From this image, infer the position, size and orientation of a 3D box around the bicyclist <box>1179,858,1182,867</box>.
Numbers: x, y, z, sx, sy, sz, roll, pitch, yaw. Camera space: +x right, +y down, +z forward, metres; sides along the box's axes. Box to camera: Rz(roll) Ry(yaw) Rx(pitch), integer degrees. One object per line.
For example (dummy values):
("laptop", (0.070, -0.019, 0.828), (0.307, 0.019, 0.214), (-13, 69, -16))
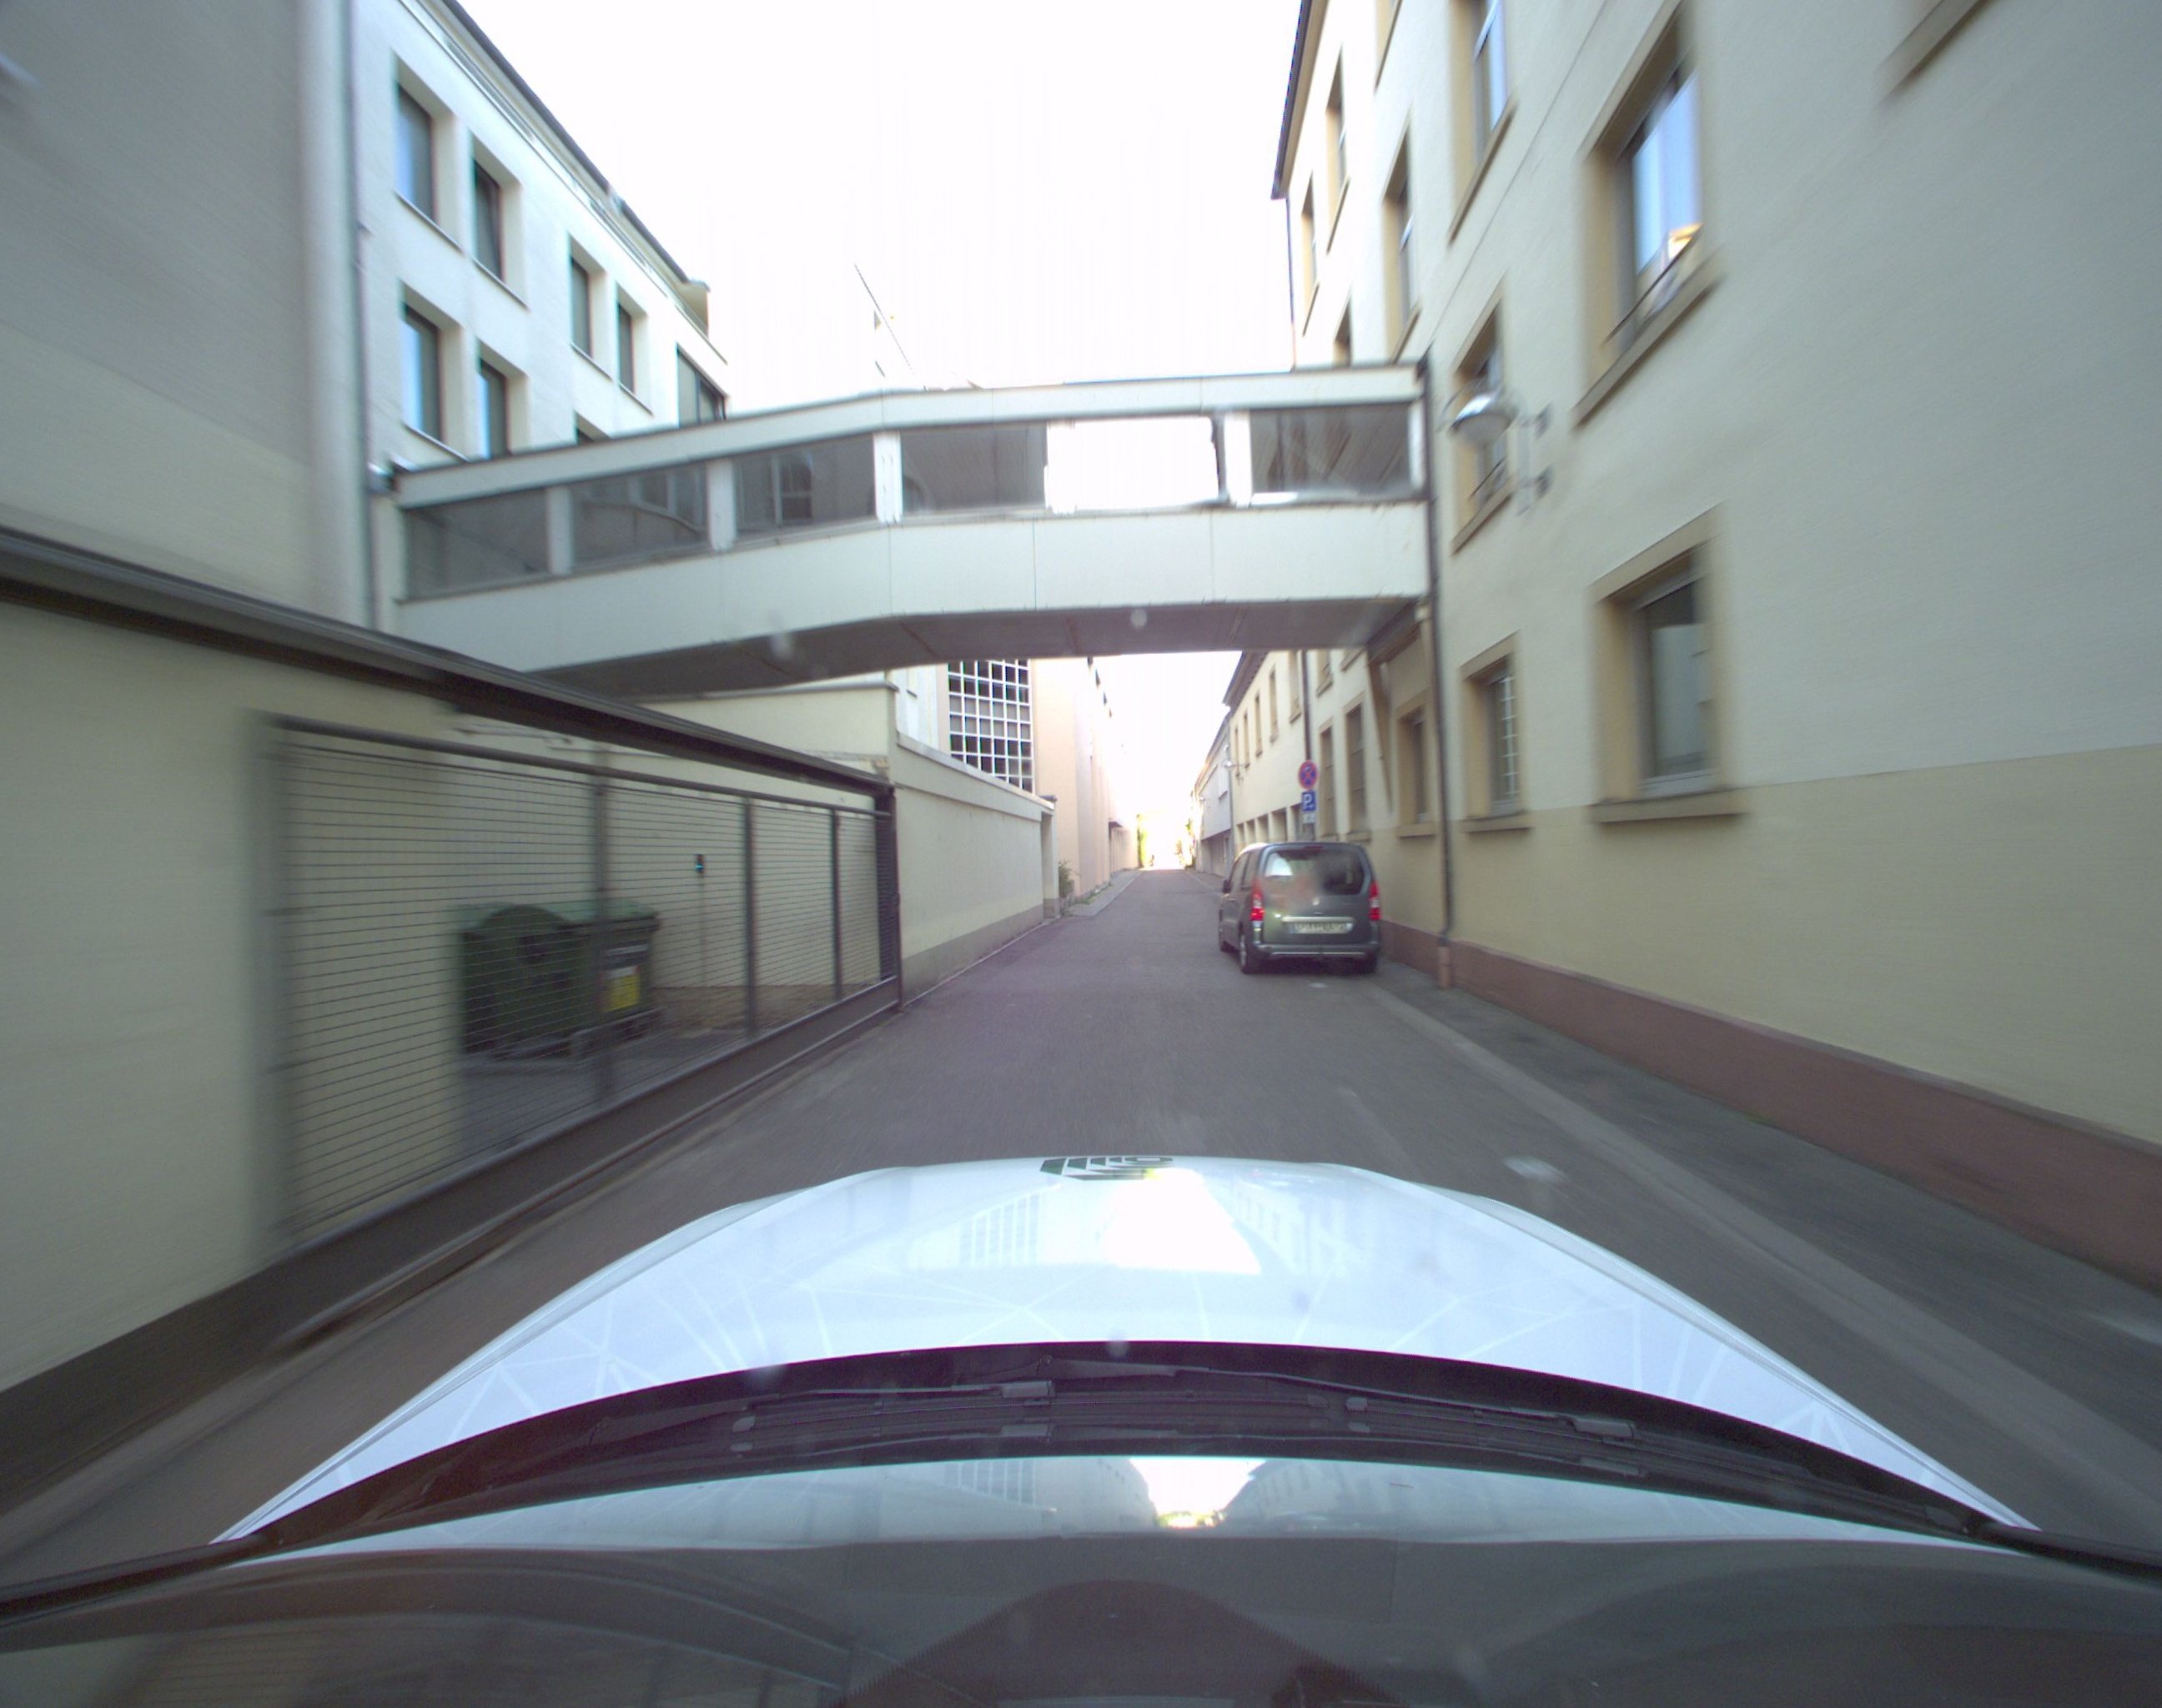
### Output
("bicyclist", (15.715, 1.364, 128.868), (0.509, 1.323, 0.560), (-1, -1, 8))

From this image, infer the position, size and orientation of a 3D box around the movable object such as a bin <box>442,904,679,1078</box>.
("movable object such as a bin", (-4.989, 1.260, 7.971), (1.174, 1.424, 1.592), (-2, -1, 7))

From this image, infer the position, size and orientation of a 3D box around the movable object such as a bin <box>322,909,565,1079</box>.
("movable object such as a bin", (-6.268, 1.323, 8.140), (1.065, 1.424, 1.592), (-2, -1, 7))

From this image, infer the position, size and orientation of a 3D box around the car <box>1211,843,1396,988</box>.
("car", (3.136, 0.809, 12.368), (1.847, 1.756, 4.165), (2, -1, 3))

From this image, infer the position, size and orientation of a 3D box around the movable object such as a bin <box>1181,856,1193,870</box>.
("movable object such as a bin", (11.005, 0.936, 84.364), (1.101, 1.436, 1.416), (-2, 1, 6))

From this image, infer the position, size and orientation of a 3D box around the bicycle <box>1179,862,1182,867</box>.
("bicycle", (15.739, 1.660, 128.926), (0.440, 0.915, 1.520), (-1, -1, 9))
